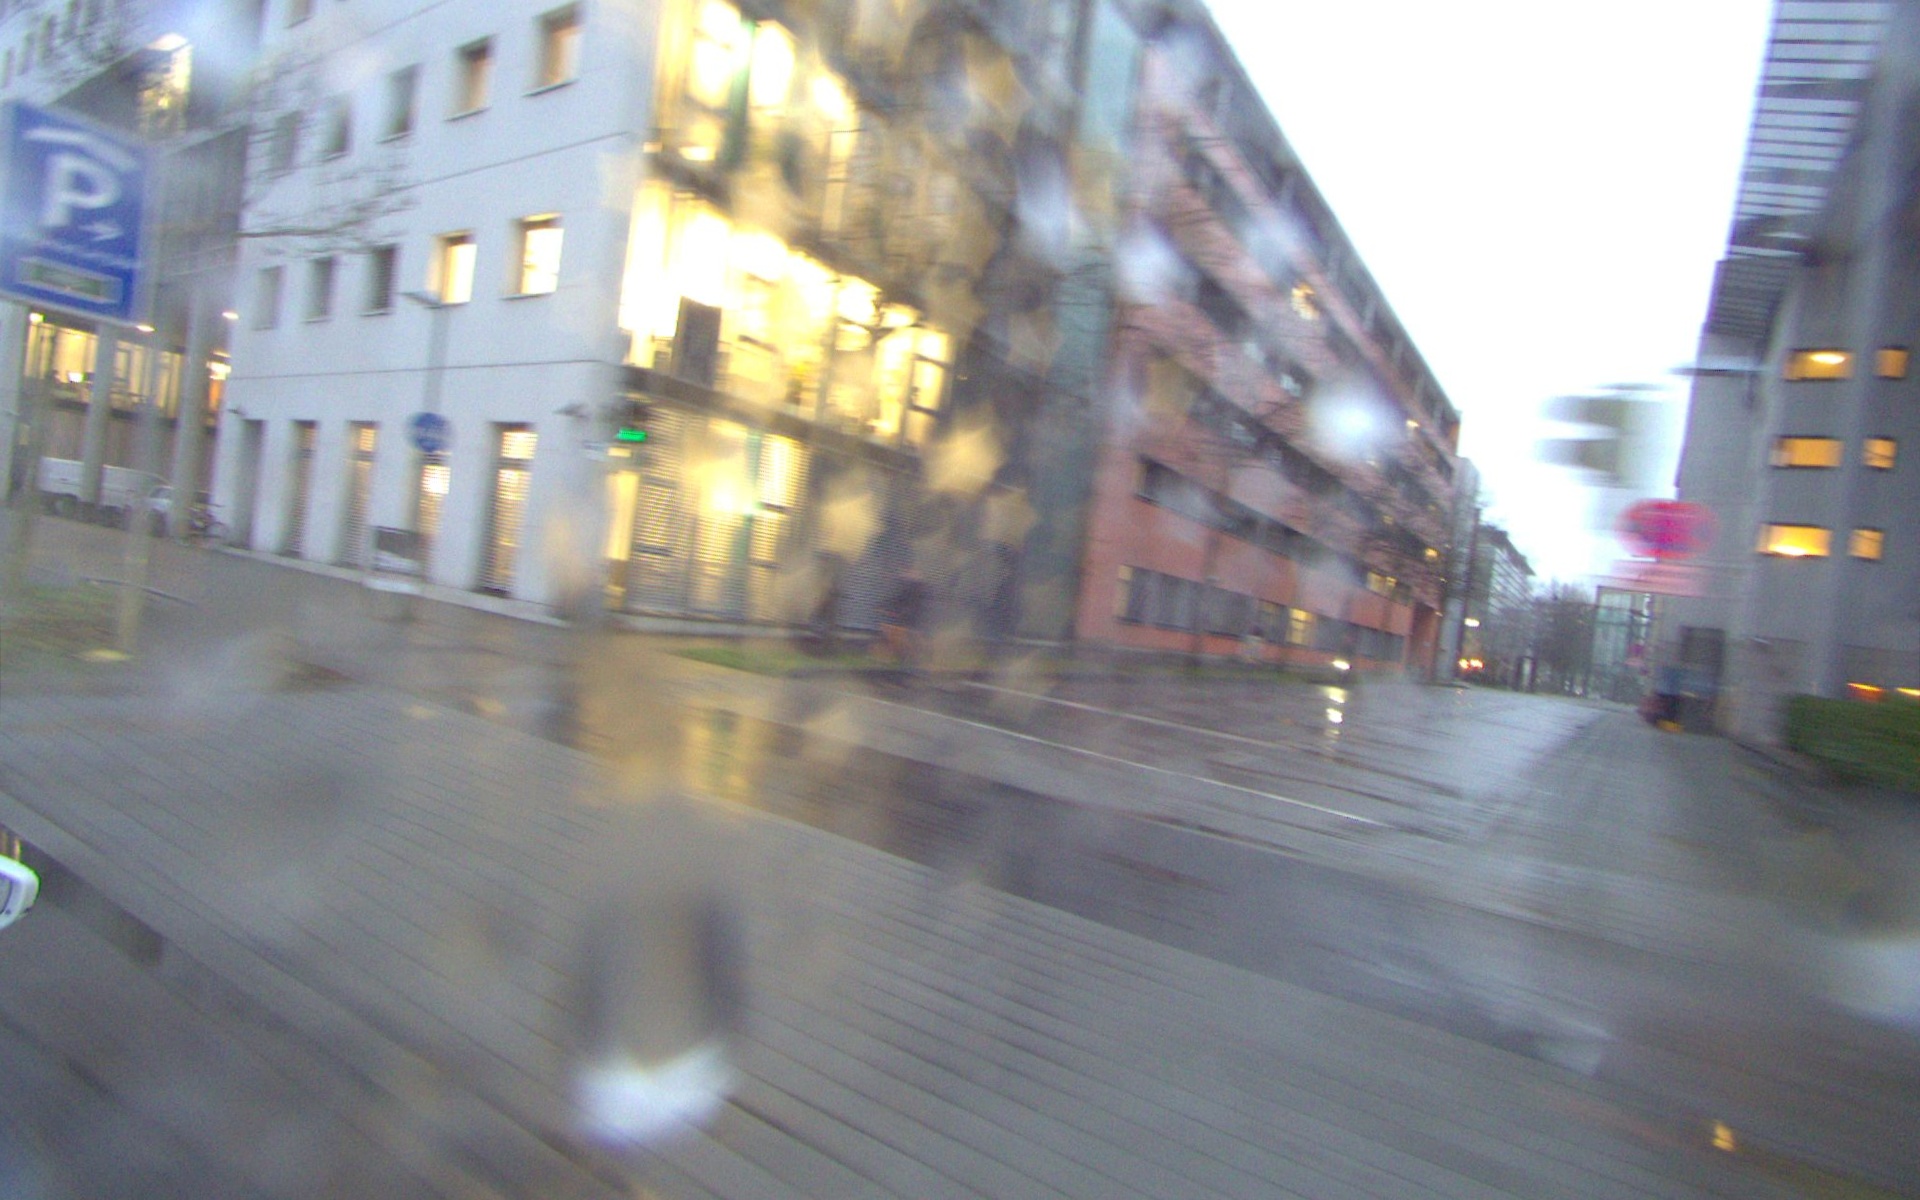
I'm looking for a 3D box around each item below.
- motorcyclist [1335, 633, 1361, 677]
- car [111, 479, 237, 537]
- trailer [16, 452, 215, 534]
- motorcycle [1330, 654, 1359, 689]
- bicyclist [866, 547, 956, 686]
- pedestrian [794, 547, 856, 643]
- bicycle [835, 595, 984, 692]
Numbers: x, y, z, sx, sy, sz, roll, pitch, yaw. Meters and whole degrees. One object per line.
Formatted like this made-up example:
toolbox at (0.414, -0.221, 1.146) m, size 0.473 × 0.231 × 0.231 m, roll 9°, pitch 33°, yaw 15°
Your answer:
motorcyclist at (13.879, 1.962, 35.983) m, size 0.599 × 1.471 × 0.900 m, roll 7°, pitch -1°, yaw 31°
car at (-25.145, -2.969, 32.157) m, size 4.456 × 1.386 × 1.635 m, roll 6°, pitch -2°, yaw 32°
trailer at (-30.174, -3.776, 36.089) m, size 2.098 × 1.935 × 5.065 m, roll 9°, pitch 0°, yaw 39°
motorcycle at (13.695, 2.539, 35.831) m, size 0.614 × 1.111 × 1.442 m, roll 6°, pitch -2°, yaw 32°
bicyclist at (-0.713, 0.231, 14.453) m, size 0.725 × 1.845 × 0.832 m, roll 8°, pitch 2°, yaw -33°
pedestrian at (-2.660, -0.094, 19.829) m, size 0.691 × 1.756 × 0.738 m, roll 6°, pitch -1°, yaw 31°
bicycle at (-0.715, 0.634, 14.489) m, size 1.850 × 1.105 × 0.846 m, roll 9°, pitch 2°, yaw -33°
